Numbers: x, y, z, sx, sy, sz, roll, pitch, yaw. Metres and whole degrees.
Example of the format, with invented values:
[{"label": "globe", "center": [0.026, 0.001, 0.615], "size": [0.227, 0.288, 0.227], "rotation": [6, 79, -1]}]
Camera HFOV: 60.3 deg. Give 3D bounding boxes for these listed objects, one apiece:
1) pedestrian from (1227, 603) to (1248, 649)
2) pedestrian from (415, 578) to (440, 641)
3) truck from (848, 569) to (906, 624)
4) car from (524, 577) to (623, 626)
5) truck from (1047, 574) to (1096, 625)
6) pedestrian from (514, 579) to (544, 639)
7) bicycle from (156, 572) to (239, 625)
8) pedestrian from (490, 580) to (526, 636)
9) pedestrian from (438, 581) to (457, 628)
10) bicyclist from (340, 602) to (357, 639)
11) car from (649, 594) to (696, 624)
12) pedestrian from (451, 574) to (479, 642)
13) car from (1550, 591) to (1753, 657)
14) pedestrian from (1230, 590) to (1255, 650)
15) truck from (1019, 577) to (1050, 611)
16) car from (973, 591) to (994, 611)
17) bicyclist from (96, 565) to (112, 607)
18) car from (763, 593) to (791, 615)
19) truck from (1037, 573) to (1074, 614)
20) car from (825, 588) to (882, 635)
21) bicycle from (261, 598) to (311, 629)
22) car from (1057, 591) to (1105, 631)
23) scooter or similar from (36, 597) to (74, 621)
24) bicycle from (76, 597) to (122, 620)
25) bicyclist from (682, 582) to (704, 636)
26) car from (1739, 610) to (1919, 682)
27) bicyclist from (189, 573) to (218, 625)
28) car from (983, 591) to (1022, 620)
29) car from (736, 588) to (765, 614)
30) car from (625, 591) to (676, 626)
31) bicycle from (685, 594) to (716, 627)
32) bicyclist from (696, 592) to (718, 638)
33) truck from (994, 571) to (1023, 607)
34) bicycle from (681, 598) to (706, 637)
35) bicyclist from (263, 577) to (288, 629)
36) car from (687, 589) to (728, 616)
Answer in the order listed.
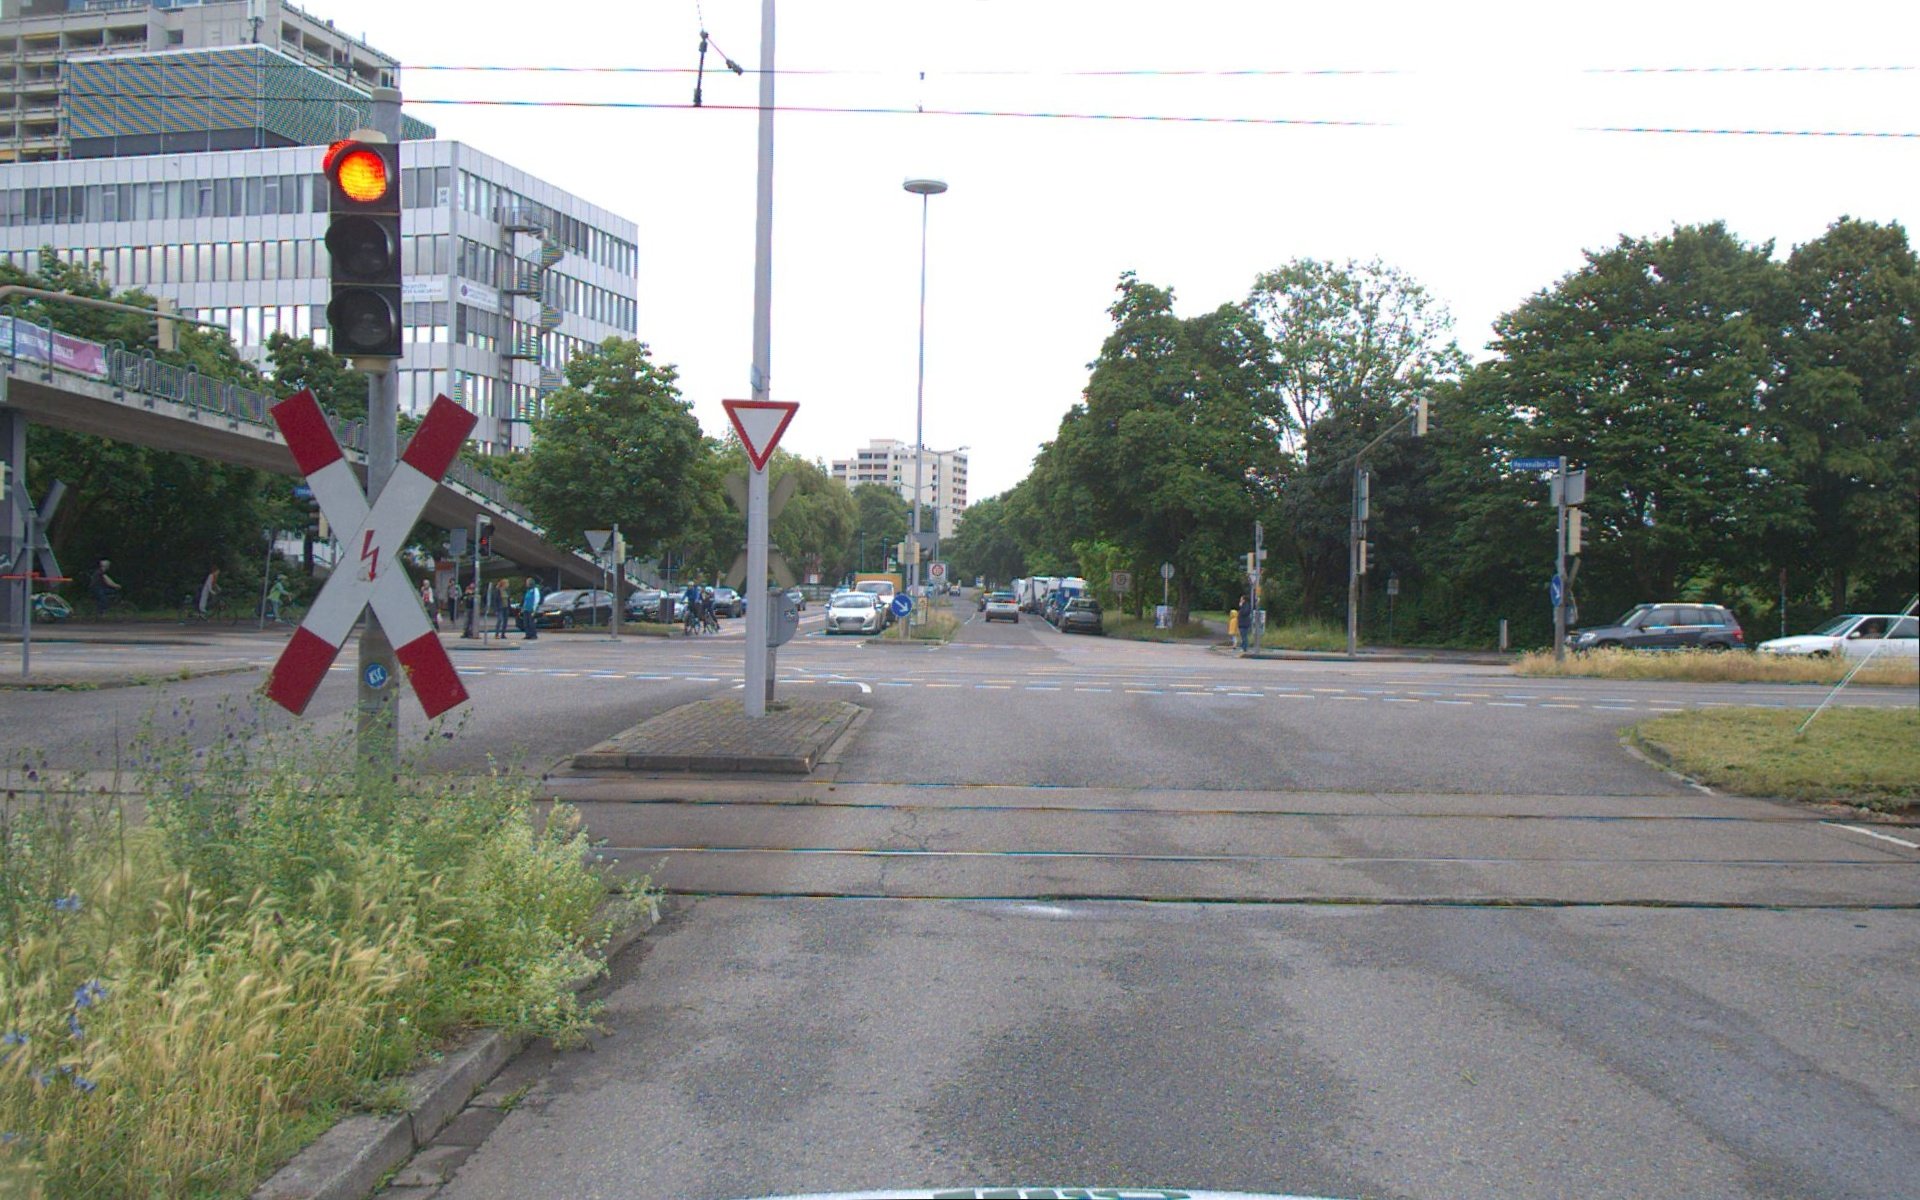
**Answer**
[{"label": "pedestrian", "center": [8.393, 0.788, 49.970], "size": [0.516, 1.365, 0.525], "rotation": [1, 0, -1]}, {"label": "pedestrian", "center": [-14.627, 0.250, 45.415], "size": [0.608, 1.721, 0.404], "rotation": [1, 0, -15]}, {"label": "truck", "center": [-3.572, -0.167, 72.079], "size": [2.111, 2.237, 5.841], "rotation": [1, 0, 1]}, {"label": "car", "center": [-13.301, 0.045, 57.149], "size": [1.636, 1.579, 4.003], "rotation": [1, 0, 15]}, {"label": "truck", "center": [6.075, 0.001, 90.808], "size": [2.130, 2.703, 6.245], "rotation": [0, 0, -1]}, {"label": "pedestrian", "center": [-11.877, 0.243, 45.581], "size": [0.673, 1.633, 0.487], "rotation": [1, 0, -5]}, {"label": "bicycle", "center": [-24.456, -0.032, 53.095], "size": [2.320, 1.653, 0.525], "rotation": [1, 0, -16]}, {"label": "pedestrian", "center": [-12.495, 0.216, 45.713], "size": [0.901, 1.537, 0.403], "rotation": [1, 0, -12]}, {"label": "pedestrian", "center": [-17.421, 0.146, 56.258], "size": [0.570, 1.607, 0.777], "rotation": [1, 0, -19]}, {"label": "bicyclist", "center": [-20.078, 0.676, 54.298], "size": [0.396, 1.202, 0.377], "rotation": [1, 1, 1]}, {"label": "car", "center": [-14.376, 0.426, 82.910], "size": [1.637, 1.411, 3.895], "rotation": [1, 0, 0]}, {"label": "pedestrian", "center": [-13.634, 0.213, 45.577], "size": [0.625, 1.835, 0.800], "rotation": [1, 0, -10]}, {"label": "car", "center": [17.537, 0.591, 42.084], "size": [4.373, 1.530, 1.846], "rotation": [1, 0, 0]}, {"label": "pedestrian", "center": [8.422, 0.592, 49.312], "size": [0.643, 1.780, 0.459], "rotation": [1, 0, -1]}, {"label": "truck", "center": [5.951, -0.433, 132.228], "size": [1.954, 2.618, 5.375], "rotation": [1, 0, -3]}, {"label": "car", "center": [1.820, 0.071, 130.350], "size": [1.522, 1.531, 4.000], "rotation": [1, 0, 0]}, {"label": "bicyclist", "center": [-27.170, -0.448, 52.503], "size": [0.380, 1.326, 0.275], "rotation": [1, 0, -38]}, {"label": "car", "center": [-13.850, 0.291, 125.502], "size": [1.637, 1.579, 4.000], "rotation": [1, 0, 0]}, {"label": "truck", "center": [6.910, -0.475, 120.170], "size": [1.954, 2.888, 5.726], "rotation": [1, 0, -4]}, {"label": "car", "center": [-3.704, 0.383, 57.896], "size": [1.753, 1.545, 4.325], "rotation": [1, 0, -1]}, {"label": "bicycle", "center": [-21.882, 0.426, 53.721], "size": [0.618, 0.941, 2.523], "rotation": [1, 0, -1]}, {"label": "car", "center": [5.390, 0.466, 73.998], "size": [1.747, 1.691, 3.999], "rotation": [1, 0, -1]}, {"label": "scooter or similar", "center": [-28.276, 0.283, 51.690], "size": [0.986, 0.727, 0.401], "rotation": [1, 0, -36]}, {"label": "bicycle", "center": [-27.293, 0.265, 52.434], "size": [1.283, 0.704, 0.286], "rotation": [1, 0, -37]}, {"label": "bicyclist", "center": [-8.987, 0.293, 55.649], "size": [0.631, 1.799, 0.646], "rotation": [1, 0, -1]}, {"label": "car", "center": [18.700, 0.948, 34.568], "size": [4.052, 1.381, 1.647], "rotation": [1, 0, 0]}, {"label": "bicyclist", "center": [-24.327, -0.029, 53.161], "size": [0.735, 1.653, 0.525], "rotation": [1, 0, -16]}, {"label": "car", "center": [2.334, 0.297, 91.678], "size": [1.979, 1.531, 3.999], "rotation": [1, 0, -1]}, {"label": "car", "center": [-13.451, 0.052, 106.084], "size": [1.415, 1.579, 3.663], "rotation": [1, 0, -1]}, {"label": "car", "center": [-14.459, 0.383, 77.414], "size": [1.637, 1.579, 3.892], "rotation": [1, 0, 0]}, {"label": "bicycle", "center": [-9.041, 0.357, 57.718], "size": [0.712, 1.120, 2.264], "rotation": [1, 0, -1]}, {"label": "bicyclist", "center": [-8.934, 0.523, 58.383], "size": [0.665, 1.622, 0.695], "rotation": [1, -1, -1]}, {"label": "truck", "center": [4.176, -0.904, 142.995], "size": [1.954, 3.061, 5.767], "rotation": [1, 0, -4]}, {"label": "bicycle", "center": [-8.992, 0.576, 55.864], "size": [0.532, 1.289, 2.110], "rotation": [1, 0, -1]}, {"label": "bicyclist", "center": [-22.244, 0.100, 53.721], "size": [0.553, 1.673, 0.531], "rotation": [1, -1, 0]}, {"label": "car", "center": [-14.138, 0.117, 92.831], "size": [1.727, 1.419, 3.999], "rotation": [1, 0, -1]}]
